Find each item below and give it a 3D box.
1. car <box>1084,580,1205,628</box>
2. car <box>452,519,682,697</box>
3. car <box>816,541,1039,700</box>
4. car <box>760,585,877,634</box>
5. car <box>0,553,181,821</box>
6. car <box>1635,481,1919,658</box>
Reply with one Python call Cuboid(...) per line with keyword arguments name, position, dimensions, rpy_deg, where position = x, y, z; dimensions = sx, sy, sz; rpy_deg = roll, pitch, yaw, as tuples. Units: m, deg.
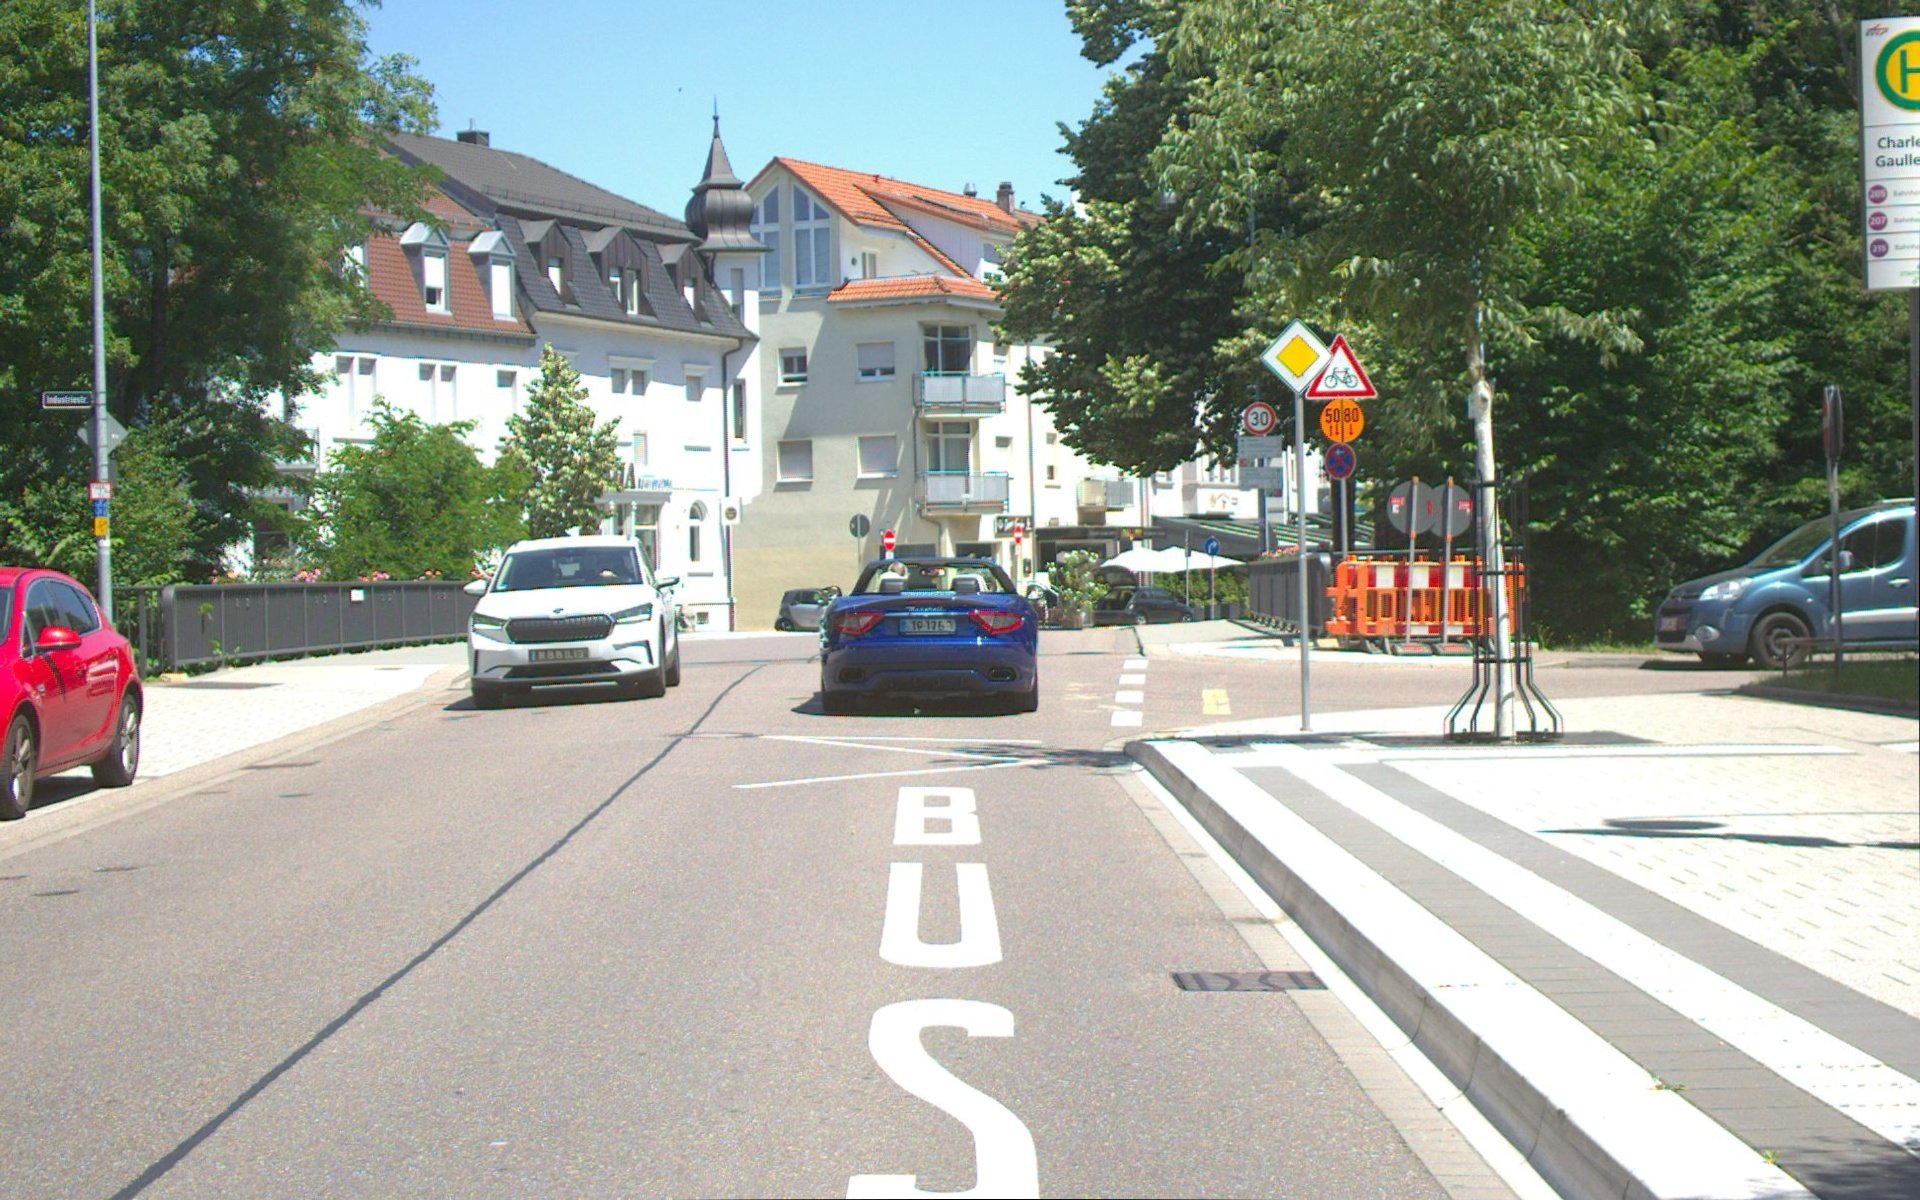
Cuboid(name="car", position=(5.773, 0.133, 107.244), dimensions=(1.716, 1.455, 4.120), rpy_deg=(1, 0, 38))
Cuboid(name="car", position=(-3.875, 0.045, 34.560), dimensions=(1.877, 1.591, 4.360), rpy_deg=(-3, 1, -2))
Cuboid(name="car", position=(-0.286, 0.160, 31.142), dimensions=(1.870, 1.337, 4.596), rpy_deg=(0, 0, 0))
Cuboid(name="car", position=(-4.499, 0.297, 108.972), dimensions=(3.266, 1.453, 1.690), rpy_deg=(-1, 0, 23))
Cuboid(name="car", position=(-6.381, 0.457, 21.644), dimensions=(1.877, 1.474, 4.738), rpy_deg=(1, 1, 0))
Cuboid(name="car", position=(9.620, -0.311, 36.871), dimensions=(4.336, 1.832, 1.750), rpy_deg=(0, 0, -8))
